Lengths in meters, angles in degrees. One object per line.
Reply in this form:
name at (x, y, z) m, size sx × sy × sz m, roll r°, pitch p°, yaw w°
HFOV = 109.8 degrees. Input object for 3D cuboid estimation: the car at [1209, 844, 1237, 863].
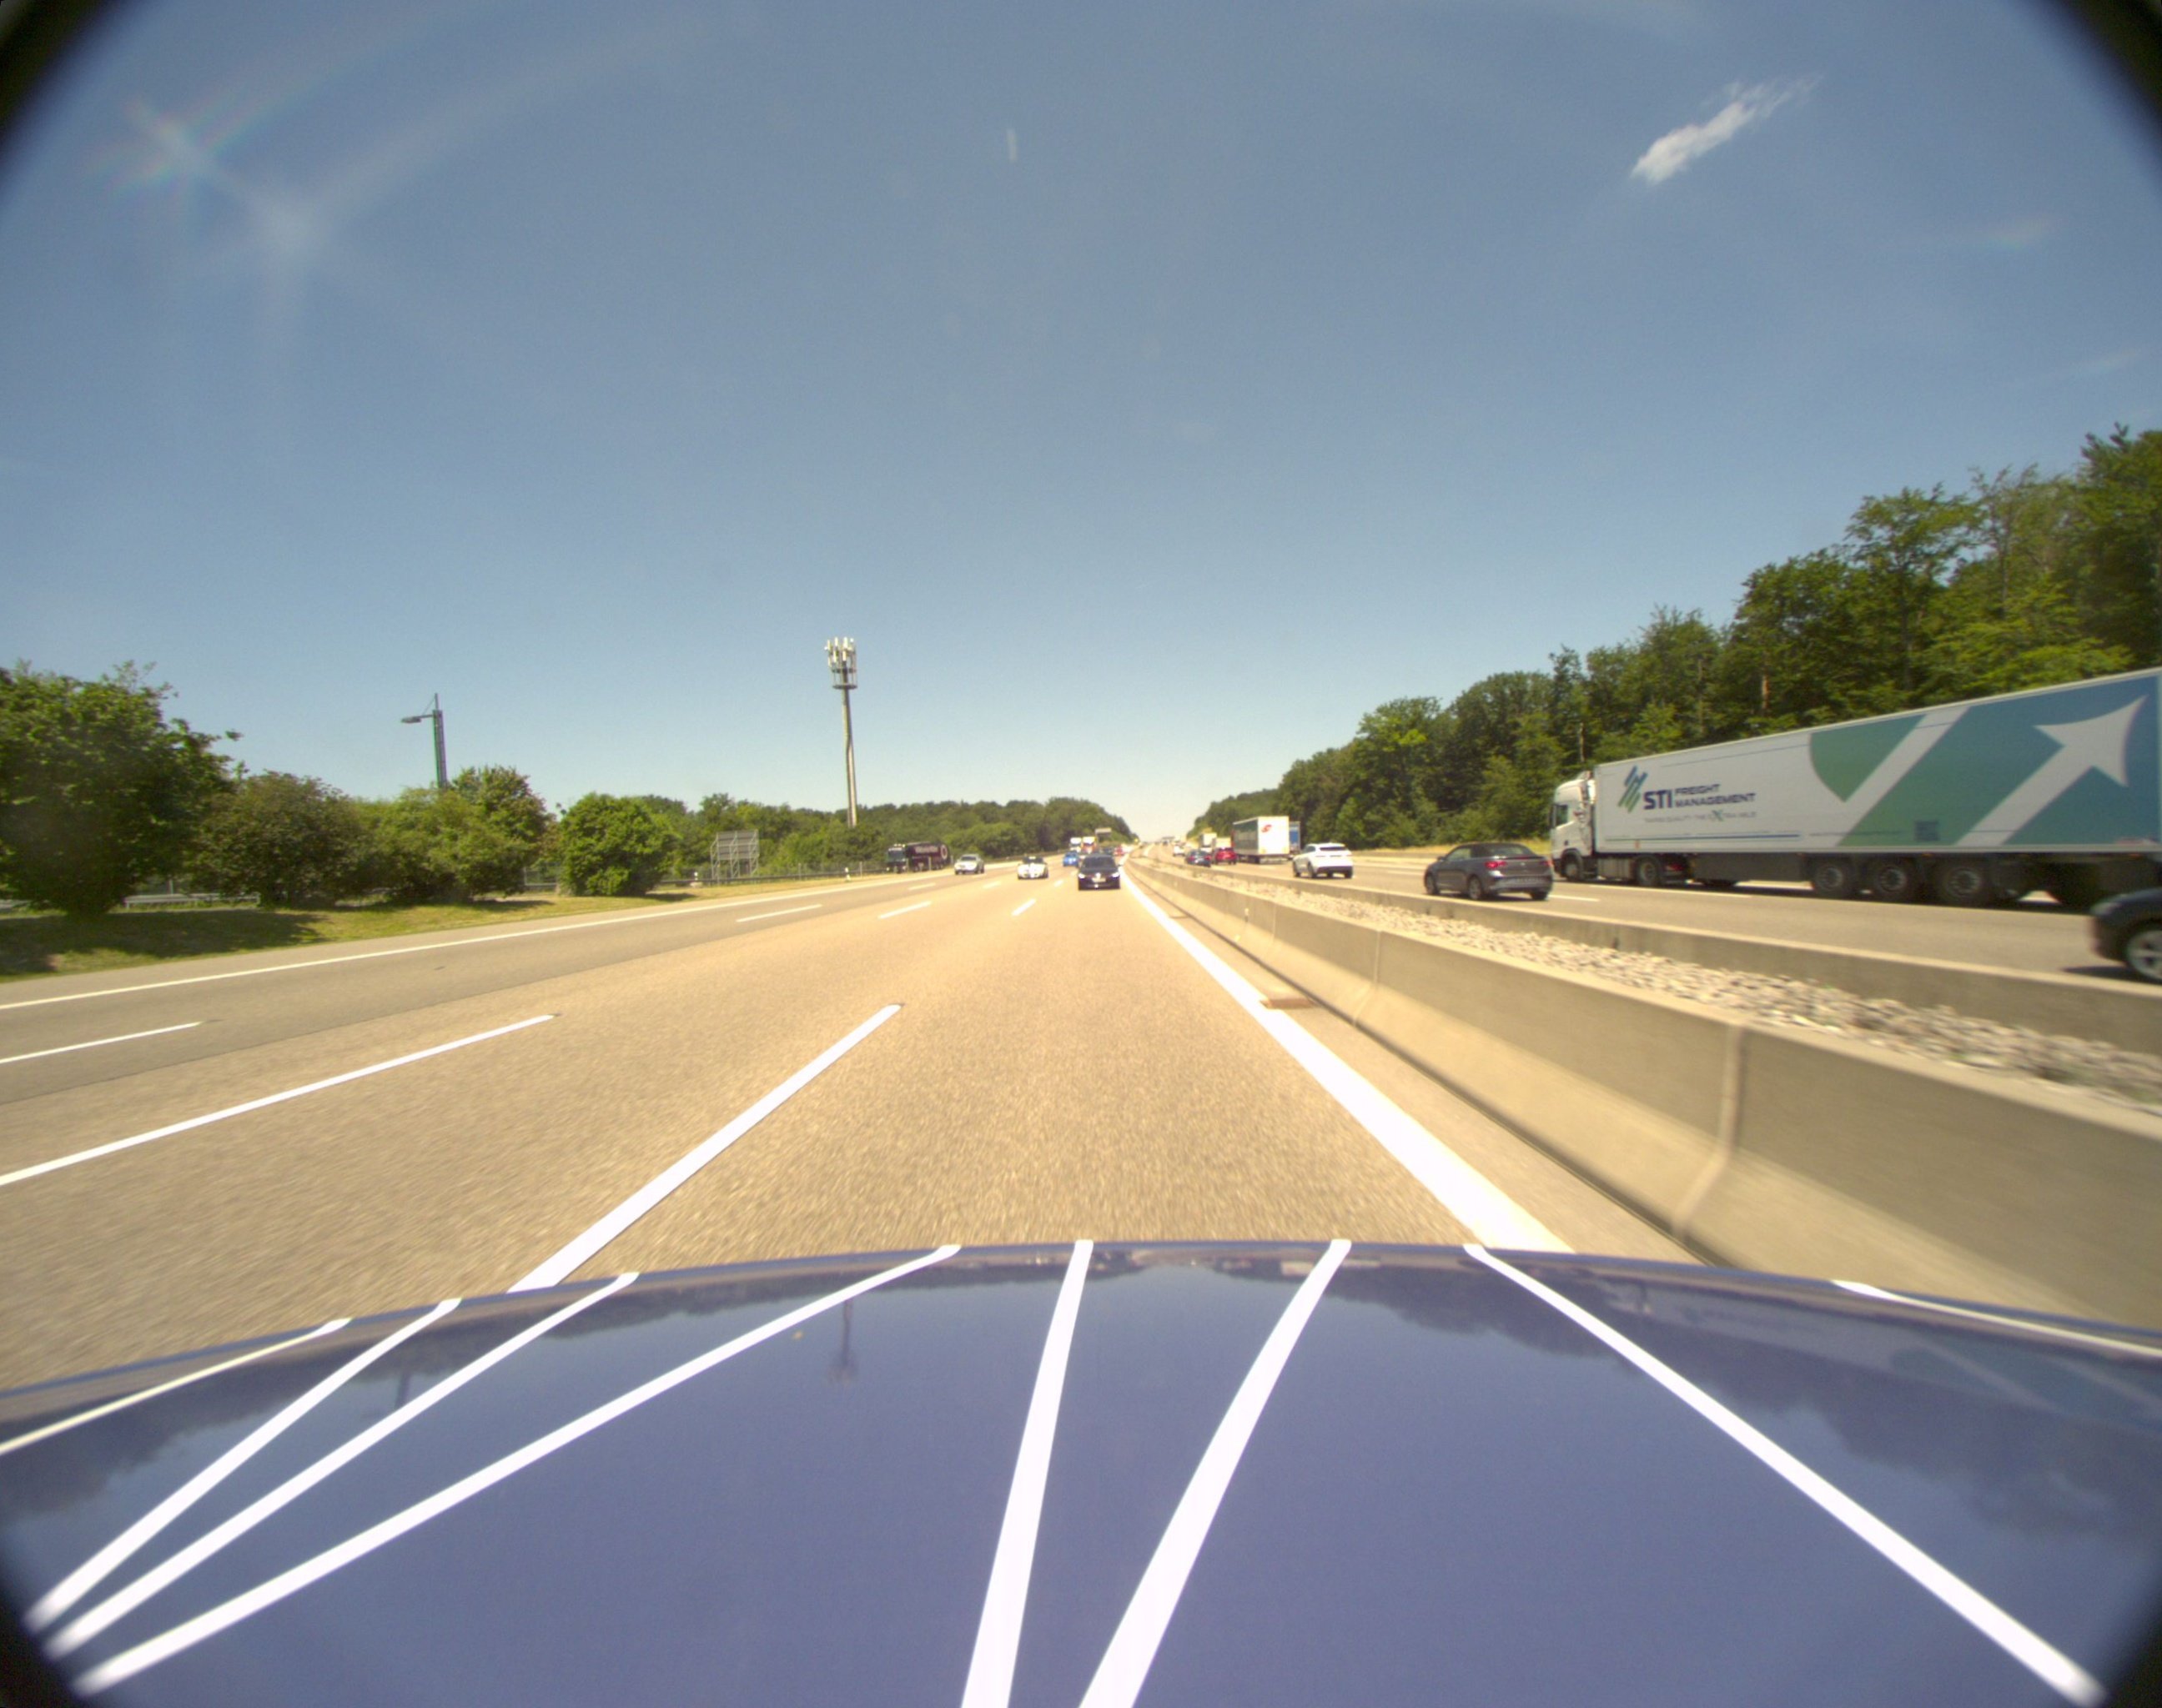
car at (12.972, -0.020, 69.647) m, size 1.802 × 1.630 × 4.544 m, roll -2°, pitch 0°, yaw 2°

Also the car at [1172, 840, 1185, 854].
car at (16.147, -1.108, 126.015) m, size 1.861 × 2.180 × 4.067 m, roll -2°, pitch 1°, yaw 6°

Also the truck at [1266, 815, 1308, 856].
truck at (21.794, -1.905, 80.716) m, size 2.728 × 3.991 × 6.937 m, roll -2°, pitch 1°, yaw 2°

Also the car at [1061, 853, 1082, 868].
car at (-1.017, 0.712, 83.560) m, size 1.998 × 1.521 × 4.234 m, roll -3°, pitch 1°, yaw 2°

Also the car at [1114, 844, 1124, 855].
car at (7.539, -0.907, 151.033) m, size 1.998 × 2.001 × 4.001 m, roll -3°, pitch -1°, yaw 2°

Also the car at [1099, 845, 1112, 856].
car at (4.179, -0.589, 130.968) m, size 1.999 × 1.848 × 3.999 m, roll -3°, pitch 1°, yaw -2°

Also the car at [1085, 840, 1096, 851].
car at (2.100, -1.858, 170.740) m, size 2.234 × 2.372 × 4.161 m, roll -3°, pitch 1°, yaw 0°

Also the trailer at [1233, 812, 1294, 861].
trailer at (16.703, -1.561, 70.524) m, size 2.943 × 4.076 × 12.153 m, roll -3°, pitch 1°, yaw 2°

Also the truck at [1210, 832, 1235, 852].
truck at (24.650, -2.063, 132.691) m, size 2.764 × 3.286 × 10.097 m, roll -2°, pitch 0°, yaw 3°

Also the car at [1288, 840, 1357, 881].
car at (11.609, 0.263, 36.871) m, size 1.823 × 1.792 × 4.891 m, roll -2°, pitch 1°, yaw 1°

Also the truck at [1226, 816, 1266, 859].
truck at (16.915, -1.694, 78.183) m, size 2.931 × 4.079 × 5.616 m, roll -3°, pitch 1°, yaw 2°

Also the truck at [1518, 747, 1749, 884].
truck at (18.506, -1.207, 26.110) m, size 3.228 × 3.980 × 6.415 m, roll -3°, pitch 1°, yaw 1°

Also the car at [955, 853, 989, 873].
car at (-9.078, 0.715, 63.502) m, size 1.998 × 1.521 × 4.001 m, roll -2°, pitch 0°, yaw 3°

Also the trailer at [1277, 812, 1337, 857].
trailer at (21.580, -1.807, 73.345) m, size 2.730 × 3.901 × 10.763 m, roll -3°, pitch 1°, yaw 2°

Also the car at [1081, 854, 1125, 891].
car at (0.996, 0.749, 32.856) m, size 1.760 × 1.430 × 4.000 m, roll -2°, pitch 0°, yaw 3°

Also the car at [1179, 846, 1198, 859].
car at (13.591, -0.206, 96.290) m, size 1.813 × 1.543 × 5.260 m, roll -3°, pitch 1°, yaw 2°

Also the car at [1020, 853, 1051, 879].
car at (-2.854, 0.731, 48.376) m, size 1.730 × 1.521 × 3.741 m, roll -2°, pitch 0°, yaw 0°

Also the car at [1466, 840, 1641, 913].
car at (10.908, 0.464, 17.904) m, size 1.818 × 1.506 × 4.001 m, roll -1°, pitch 0°, yaw 4°

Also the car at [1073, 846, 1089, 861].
car at (0.011, -0.095, 110.480) m, size 1.998 × 2.002 × 4.000 m, roll -3°, pitch 1°, yaw 2°

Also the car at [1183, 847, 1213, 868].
car at (9.045, 0.234, 59.084) m, size 1.754 × 1.510 × 4.826 m, roll -2°, pitch 0°, yaw 2°

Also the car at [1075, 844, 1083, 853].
car at (-0.457, -1.414, 185.171) m, size 1.898 × 2.002 × 3.807 m, roll -3°, pitch 1°, yaw 2°

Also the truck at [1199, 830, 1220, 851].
truck at (26.724, -2.812, 158.430) m, size 2.949 × 4.186 × 9.346 m, roll -3°, pitch 1°, yaw 2°

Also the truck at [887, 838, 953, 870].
truck at (-19.714, -0.134, 94.087) m, size 2.749 × 3.551 × 12.335 m, roll -2°, pitch 1°, yaw 14°

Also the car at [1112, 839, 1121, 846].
car at (10.713, -3.445, 229.371) m, size 1.999 × 2.002 × 3.998 m, roll -3°, pitch 1°, yaw -3°

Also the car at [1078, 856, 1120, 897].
car at (0.705, 0.827, 29.155) m, size 1.447 × 1.376 × 3.049 m, roll -3°, pitch 1°, yaw 2°

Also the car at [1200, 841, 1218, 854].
car at (20.185, -1.084, 119.861) m, size 2.081 × 1.954 × 5.024 m, roll -3°, pitch 1°, yaw 2°

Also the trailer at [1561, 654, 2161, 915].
trailer at (18.372, -1.153, 19.041) m, size 3.237 × 4.014 × 15.286 m, roll -2°, pitch 0°, yaw 1°
